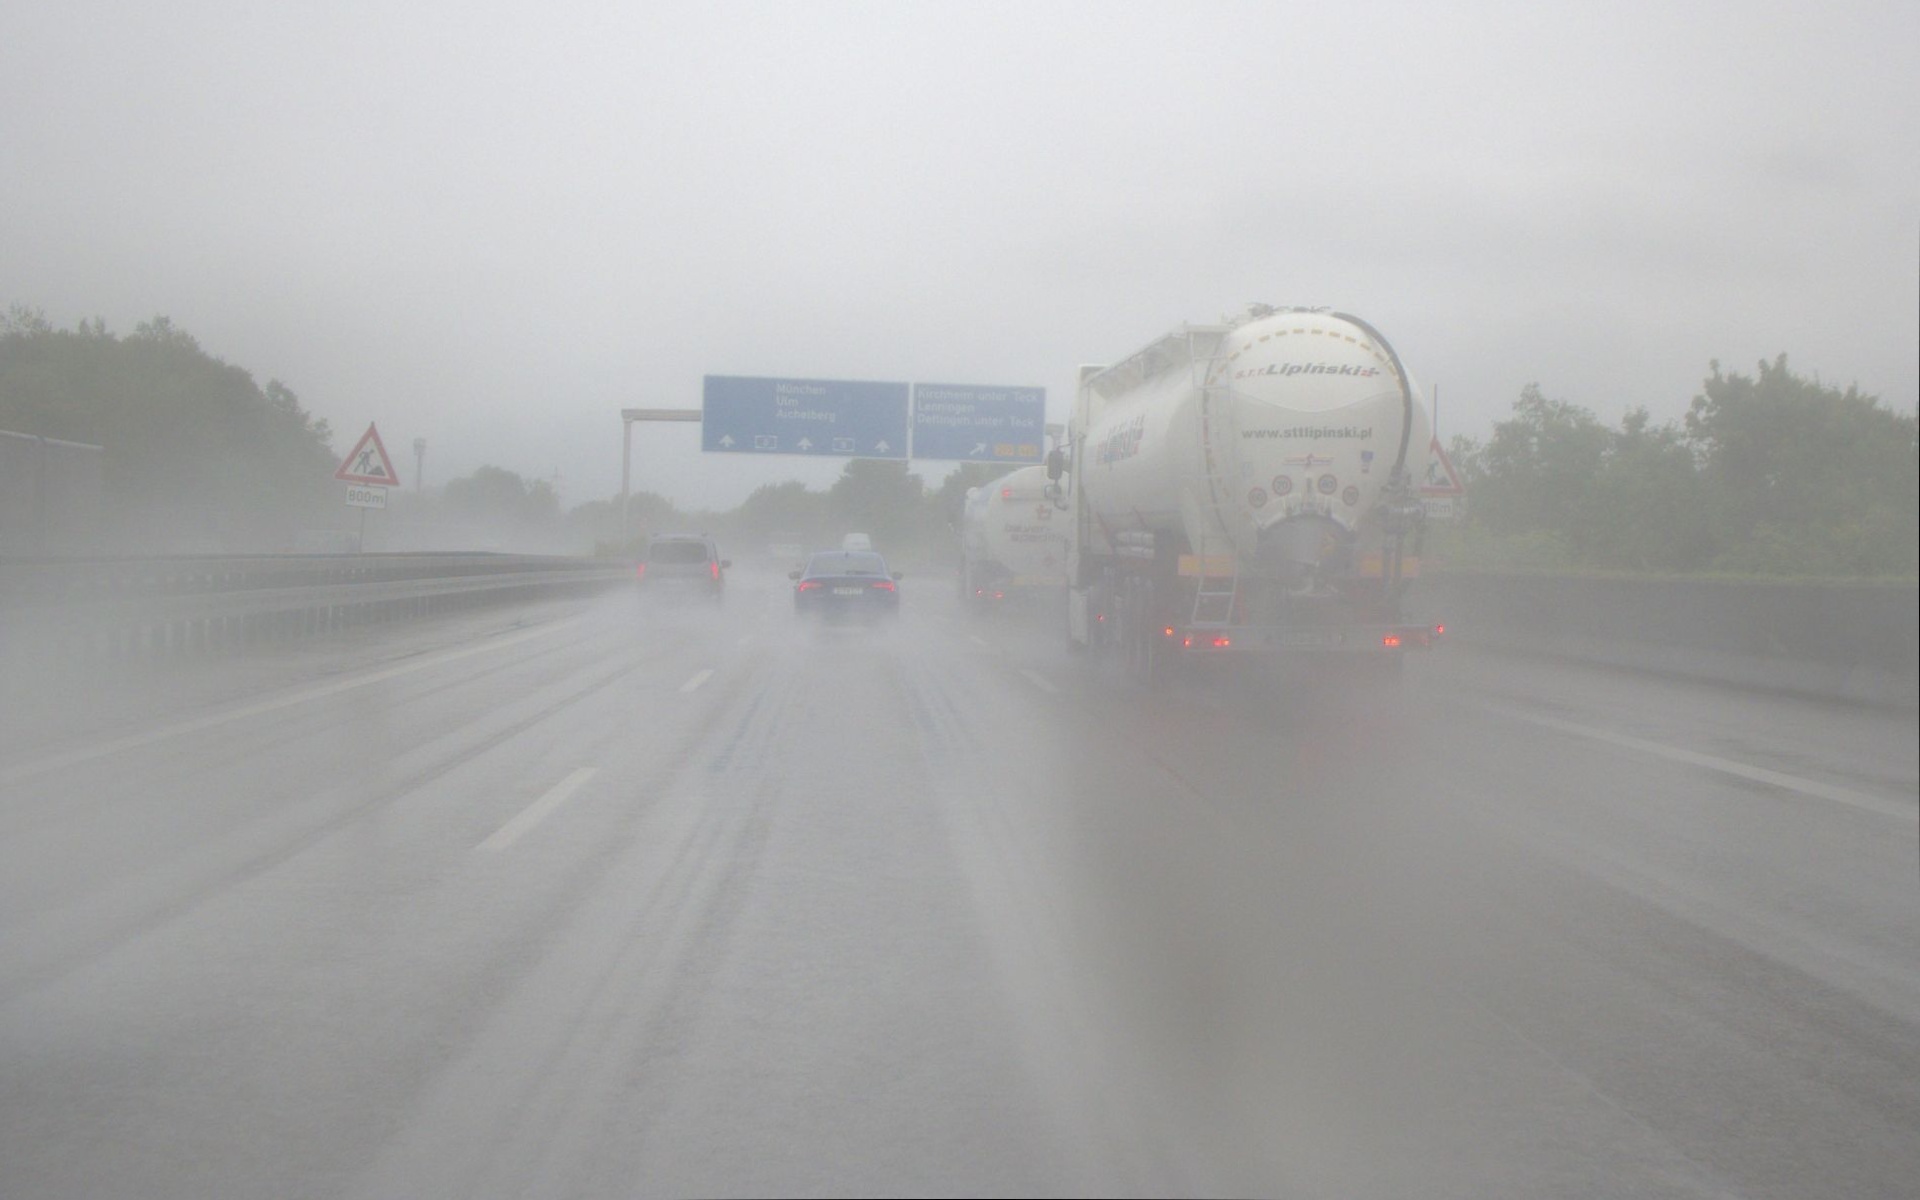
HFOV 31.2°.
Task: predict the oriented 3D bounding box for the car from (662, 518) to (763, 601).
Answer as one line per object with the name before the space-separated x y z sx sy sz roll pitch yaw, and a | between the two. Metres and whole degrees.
car | -5.366 -0.905 74.948 1.925 1.735 4.404 1 1 -1

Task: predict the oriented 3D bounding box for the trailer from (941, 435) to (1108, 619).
trailer | 1.332 -1.618 76.401 3.004 3.834 8.625 0 1 -4

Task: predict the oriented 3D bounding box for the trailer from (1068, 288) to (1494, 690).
trailer | 3.149 -1.140 37.556 3.188 3.657 11.668 1 1 -2

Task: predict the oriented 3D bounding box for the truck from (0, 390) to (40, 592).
truck | -23.976 -2.515 78.427 3.835 4.623 9.494 1 1 -3

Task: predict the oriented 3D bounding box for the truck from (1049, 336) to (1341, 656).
truck | 2.923 -1.320 44.931 3.104 3.793 7.213 1 1 -1

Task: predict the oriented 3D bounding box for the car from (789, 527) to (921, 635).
car | -1.754 -0.363 58.931 1.978 1.750 4.481 0 1 2
